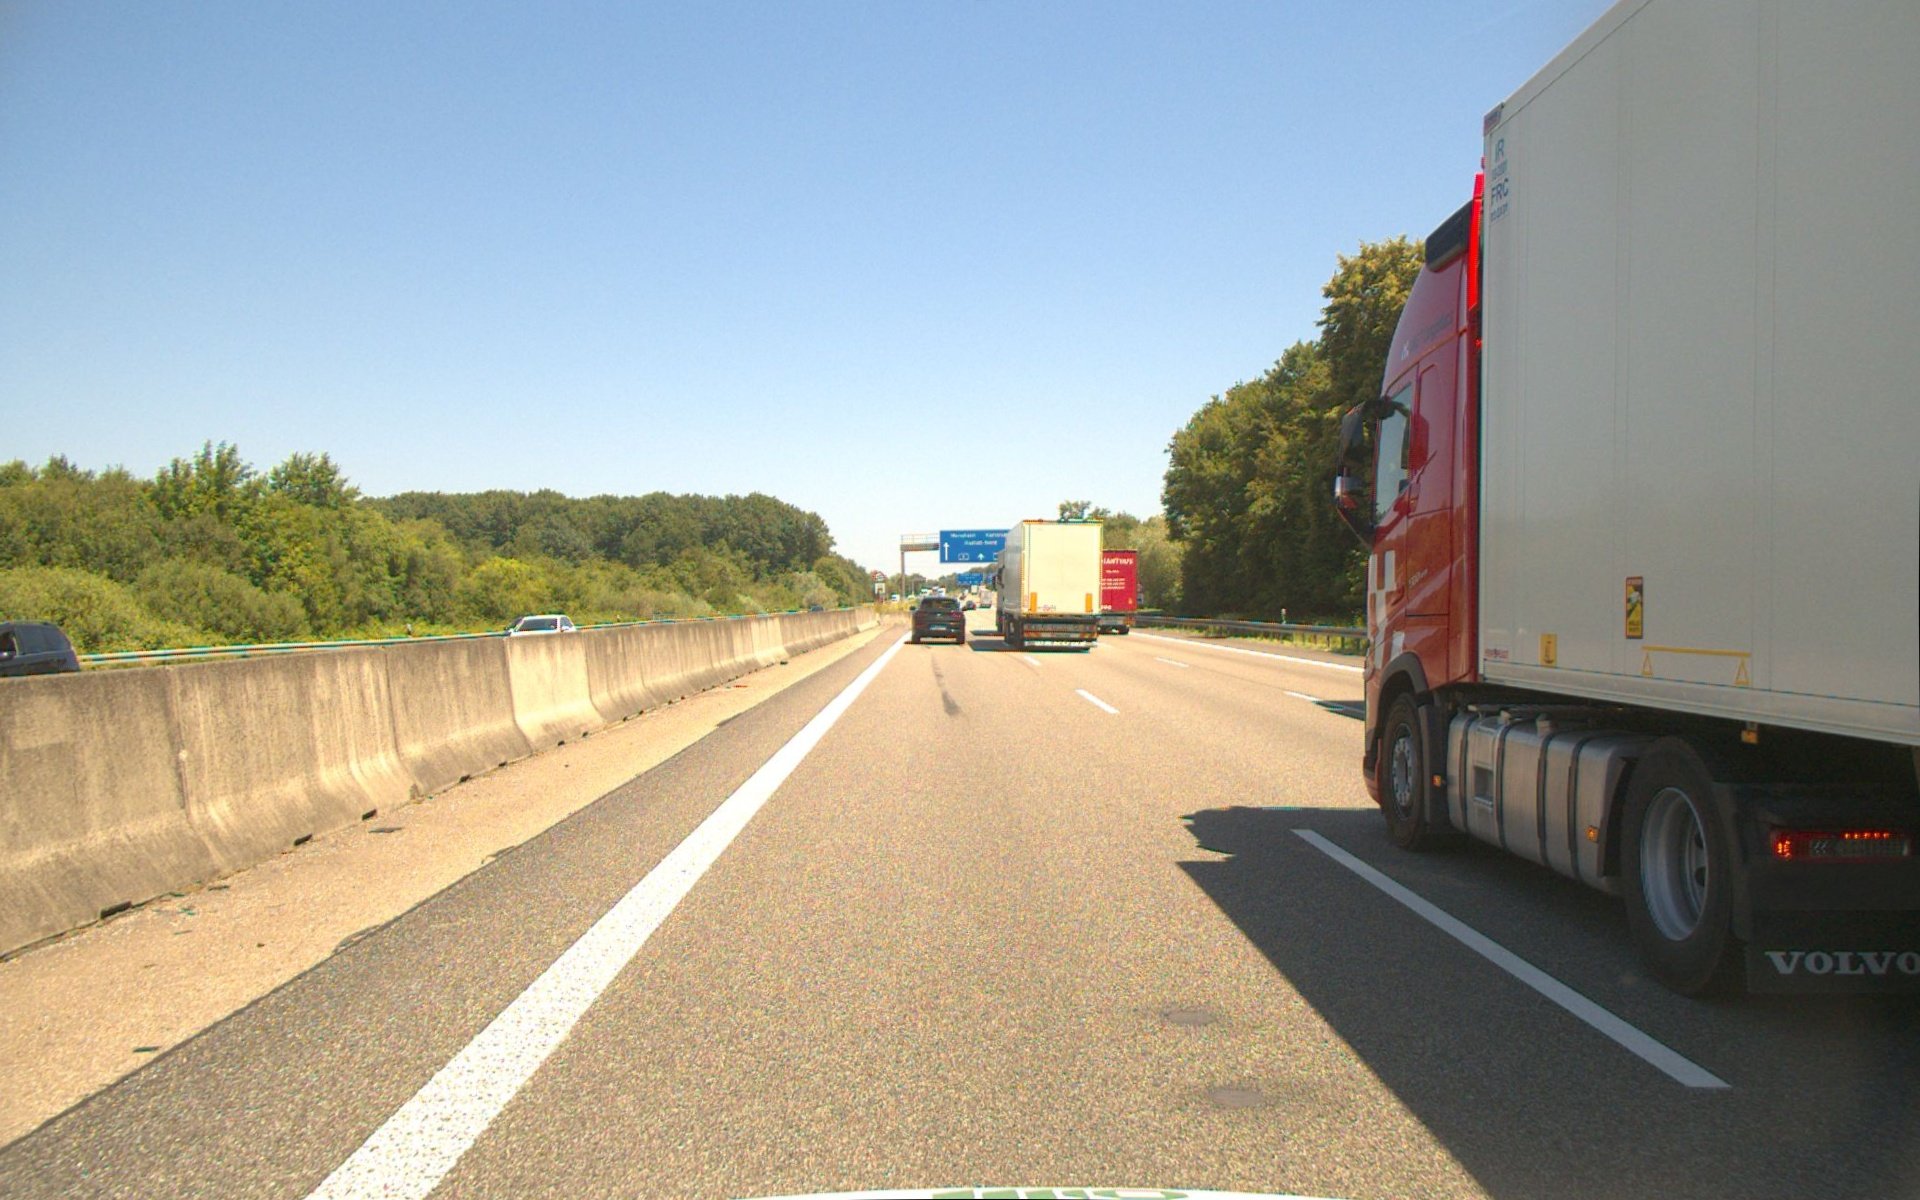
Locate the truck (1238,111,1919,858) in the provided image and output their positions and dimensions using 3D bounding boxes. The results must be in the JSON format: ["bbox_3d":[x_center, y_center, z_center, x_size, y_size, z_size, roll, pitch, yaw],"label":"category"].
[{"bbox_3d":[4.059,-0.614,12.109,2.881,4.055,6.100,1,0,-1],"label":"truck"}]

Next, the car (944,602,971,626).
[{"bbox_3d":[-0.170,0.899,106.839,1.704,1.512,4.000,0,0,0],"label":"car"}]

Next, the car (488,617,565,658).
[{"bbox_3d":[-17.579,1.495,67.255,1.869,1.504,4.824,-3,0,-1],"label":"car"}]

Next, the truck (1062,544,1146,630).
[{"bbox_3d":[7.430,-0.615,87.364,2.993,4.178,13.214,1,0,-1],"label":"truck"}]

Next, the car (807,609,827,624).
[{"bbox_3d":[-14.840,1.733,171.332,1.734,1.497,3.999,-1,0,-1],"label":"car"}]

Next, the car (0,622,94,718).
[{"bbox_3d":[-17.298,1.243,28.834,1.953,1.585,4.683,-2,0,-1],"label":"car"}]

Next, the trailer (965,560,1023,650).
[{"bbox_3d":[1.582,0.290,83.654,2.652,4.139,14.744,1,-1,0],"label":"trailer"}]

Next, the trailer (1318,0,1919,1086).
[{"bbox_3d":[4.213,-0.644,3.948,2.878,4.088,16.196,1,0,-1],"label":"trailer"}]

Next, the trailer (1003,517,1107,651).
[{"bbox_3d":[3.065,-0.480,56.792,2.738,4.106,12.565,0,0,-1],"label":"trailer"}]

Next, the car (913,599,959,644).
[{"bbox_3d":[-0.883,0.756,60.890,1.626,1.576,3.782,0,0,-1],"label":"car"}]

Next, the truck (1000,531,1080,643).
[{"bbox_3d":[2.999,-0.463,63.627,2.743,4.077,6.019,0,0,-1],"label":"truck"}]

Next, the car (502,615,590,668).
[{"bbox_3d":[-13.530,1.324,54.328,1.738,1.565,4.683,-2,0,-1],"label":"car"}]
